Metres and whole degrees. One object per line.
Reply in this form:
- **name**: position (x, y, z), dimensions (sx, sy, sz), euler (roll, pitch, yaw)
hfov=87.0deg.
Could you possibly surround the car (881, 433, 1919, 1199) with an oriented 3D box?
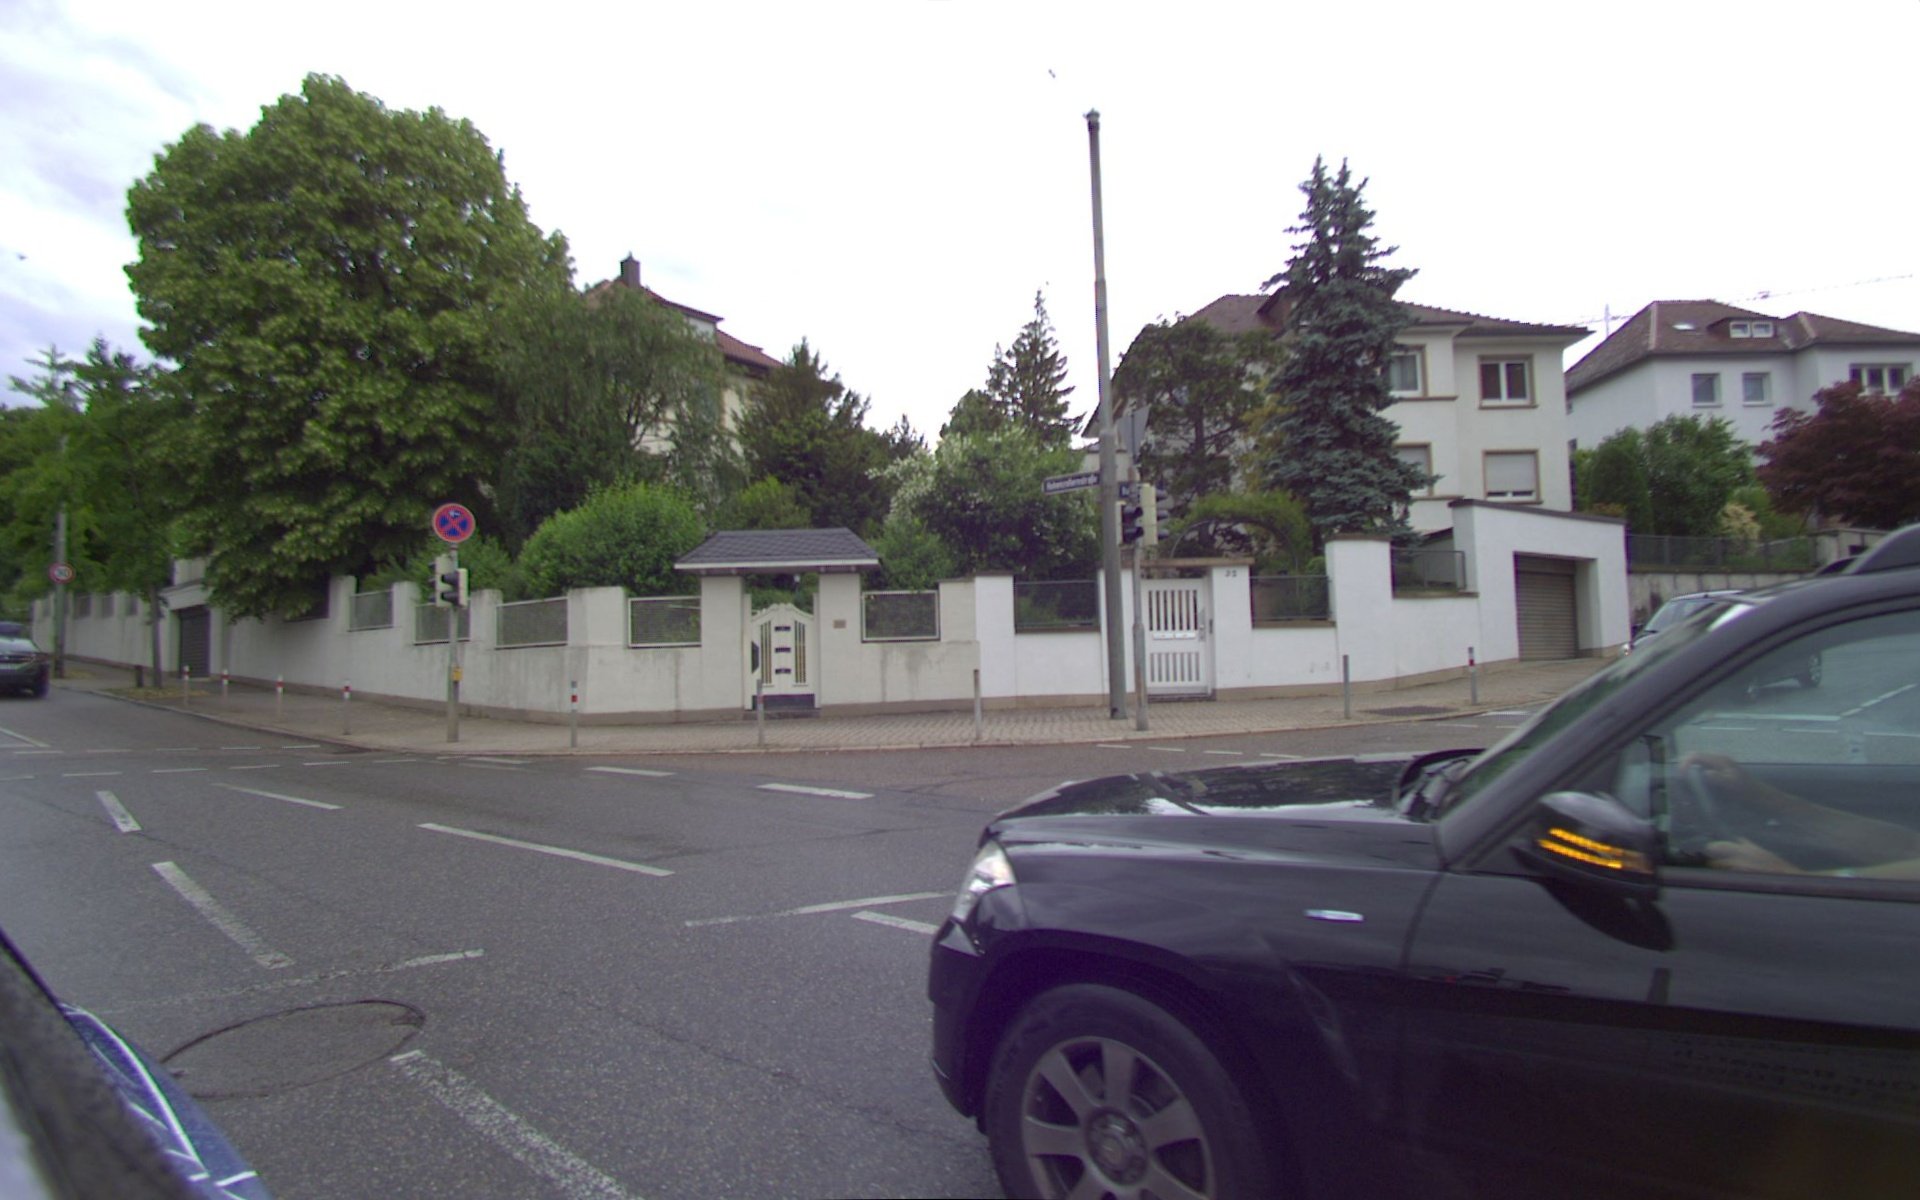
- **car**: position (2.081, 0.621, 1.818), dimensions (4.338, 1.664, 1.805), euler (-2, -2, 37)

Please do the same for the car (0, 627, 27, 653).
- **car**: position (-58.976, 2.468, 62.152), dimensions (3.859, 1.502, 1.834), euler (-1, 1, 37)

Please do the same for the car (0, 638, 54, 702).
- **car**: position (-24.548, 1.741, 25.592), dimensions (5.365, 1.497, 1.833), euler (-3, -4, 42)

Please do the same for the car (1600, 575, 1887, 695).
- **car**: position (11.333, 0.514, 14.678), dimensions (3.308, 1.449, 1.676), euler (-3, -4, -21)
